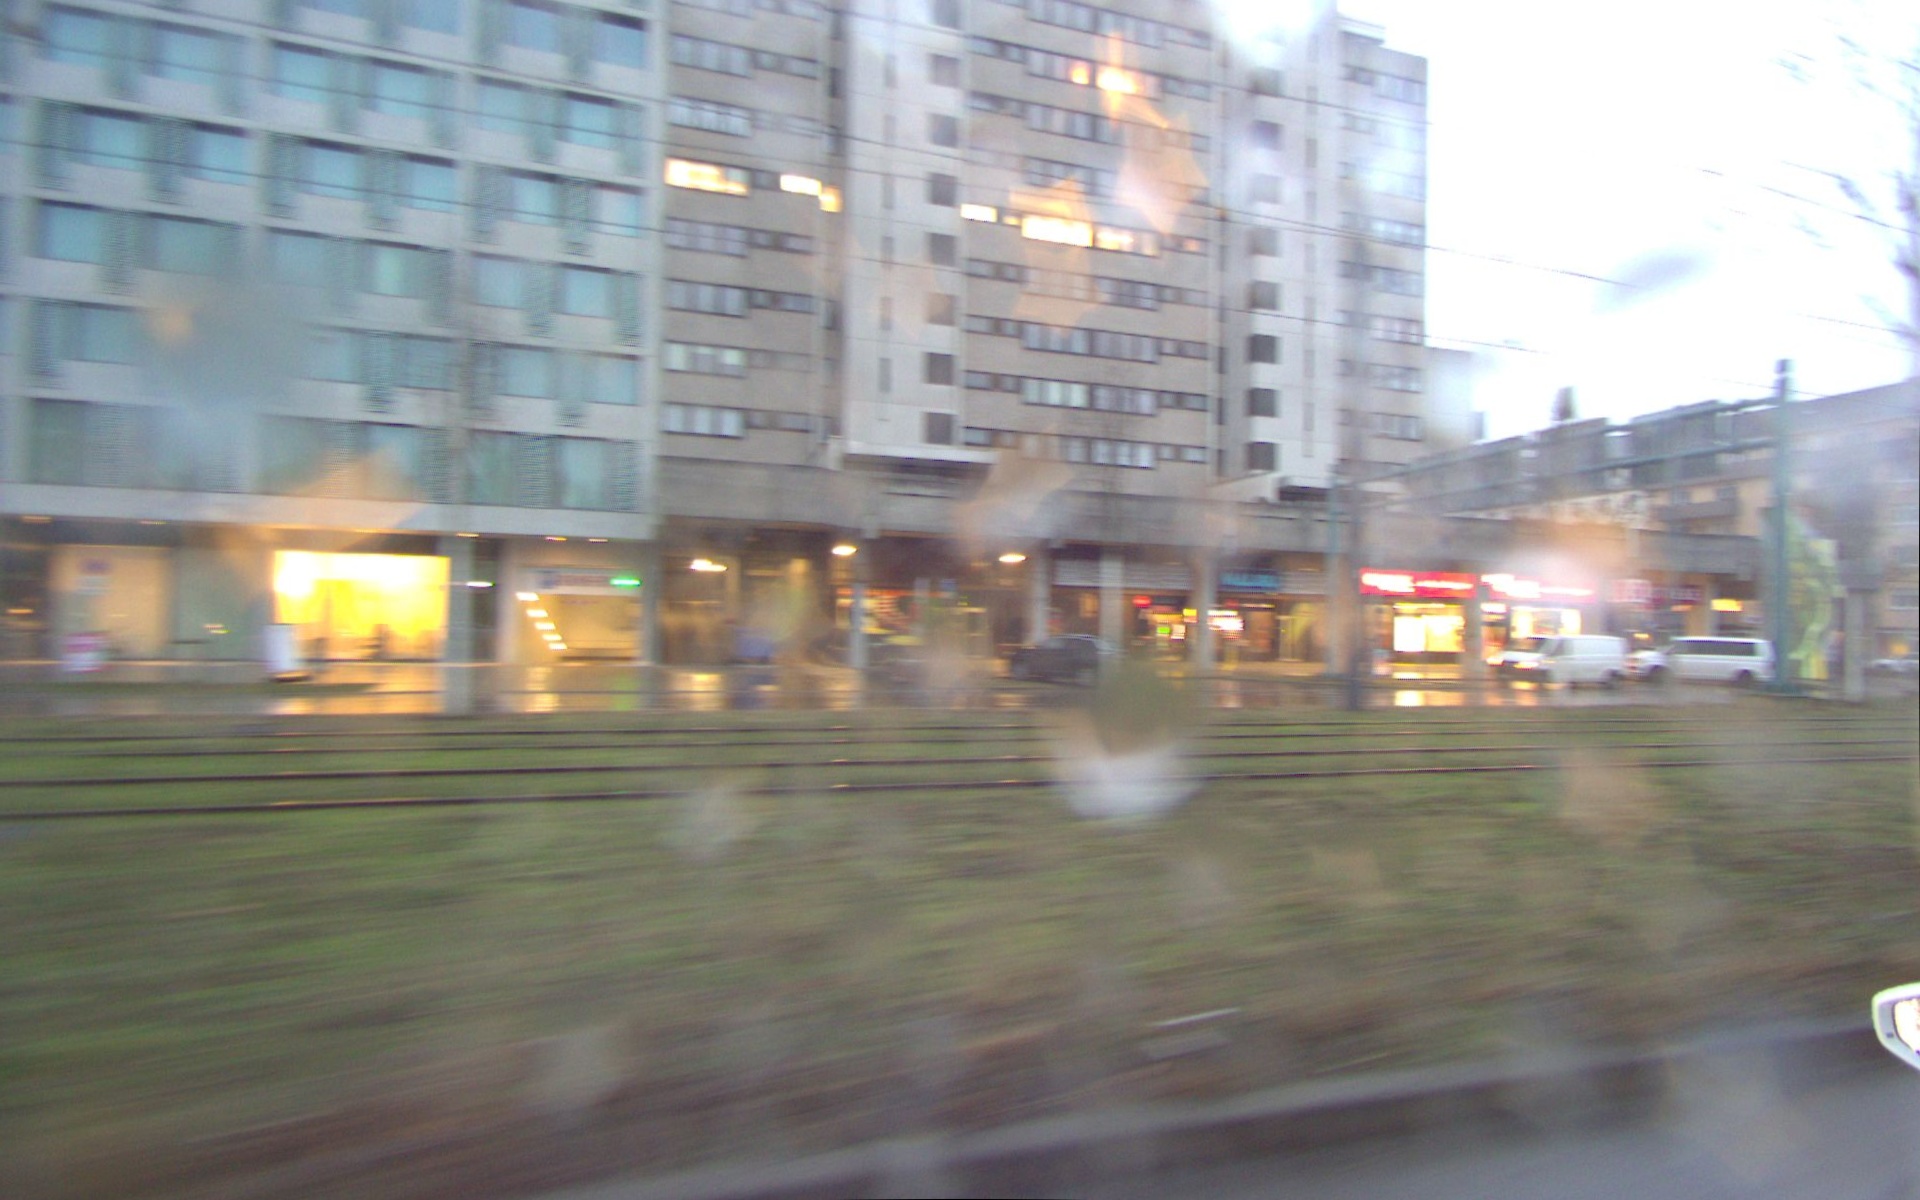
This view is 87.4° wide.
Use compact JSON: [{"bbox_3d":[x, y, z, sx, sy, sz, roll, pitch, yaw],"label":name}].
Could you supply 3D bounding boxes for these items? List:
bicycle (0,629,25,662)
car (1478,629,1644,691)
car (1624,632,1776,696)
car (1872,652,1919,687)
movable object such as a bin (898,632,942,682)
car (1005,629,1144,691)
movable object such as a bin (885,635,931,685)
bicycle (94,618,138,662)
[{"bbox_3d":[-27.774,1.320,29.093,0.458,0.865,1.344,2,0,-19],"label":"bicycle"},{"bbox_3d":[22.543,2.249,37.719,5.469,2.073,1.995,2,0,-13],"label":"car"},{"bbox_3d":[30.531,2.574,41.661,4.743,2.274,1.997,2,0,27],"label":"car"},{"bbox_3d":[59.816,4.374,62.779,1.817,1.968,3.737,2,0,-25],"label":"car"},{"bbox_3d":[-1.277,1.820,32.103,0.999,1.521,1.044,2,0,-29],"label":"movable object such as a bin"},{"bbox_3d":[3.708,1.898,32.874,4.081,1.715,1.975,2,0,41],"label":"car"},{"bbox_3d":[-1.600,1.812,30.685,1.018,1.445,1.065,2,0,-29],"label":"movable object such as a bin"},{"bbox_3d":[-25.496,1.199,30.349,0.458,1.255,1.534,2,0,-19],"label":"bicycle"}]
